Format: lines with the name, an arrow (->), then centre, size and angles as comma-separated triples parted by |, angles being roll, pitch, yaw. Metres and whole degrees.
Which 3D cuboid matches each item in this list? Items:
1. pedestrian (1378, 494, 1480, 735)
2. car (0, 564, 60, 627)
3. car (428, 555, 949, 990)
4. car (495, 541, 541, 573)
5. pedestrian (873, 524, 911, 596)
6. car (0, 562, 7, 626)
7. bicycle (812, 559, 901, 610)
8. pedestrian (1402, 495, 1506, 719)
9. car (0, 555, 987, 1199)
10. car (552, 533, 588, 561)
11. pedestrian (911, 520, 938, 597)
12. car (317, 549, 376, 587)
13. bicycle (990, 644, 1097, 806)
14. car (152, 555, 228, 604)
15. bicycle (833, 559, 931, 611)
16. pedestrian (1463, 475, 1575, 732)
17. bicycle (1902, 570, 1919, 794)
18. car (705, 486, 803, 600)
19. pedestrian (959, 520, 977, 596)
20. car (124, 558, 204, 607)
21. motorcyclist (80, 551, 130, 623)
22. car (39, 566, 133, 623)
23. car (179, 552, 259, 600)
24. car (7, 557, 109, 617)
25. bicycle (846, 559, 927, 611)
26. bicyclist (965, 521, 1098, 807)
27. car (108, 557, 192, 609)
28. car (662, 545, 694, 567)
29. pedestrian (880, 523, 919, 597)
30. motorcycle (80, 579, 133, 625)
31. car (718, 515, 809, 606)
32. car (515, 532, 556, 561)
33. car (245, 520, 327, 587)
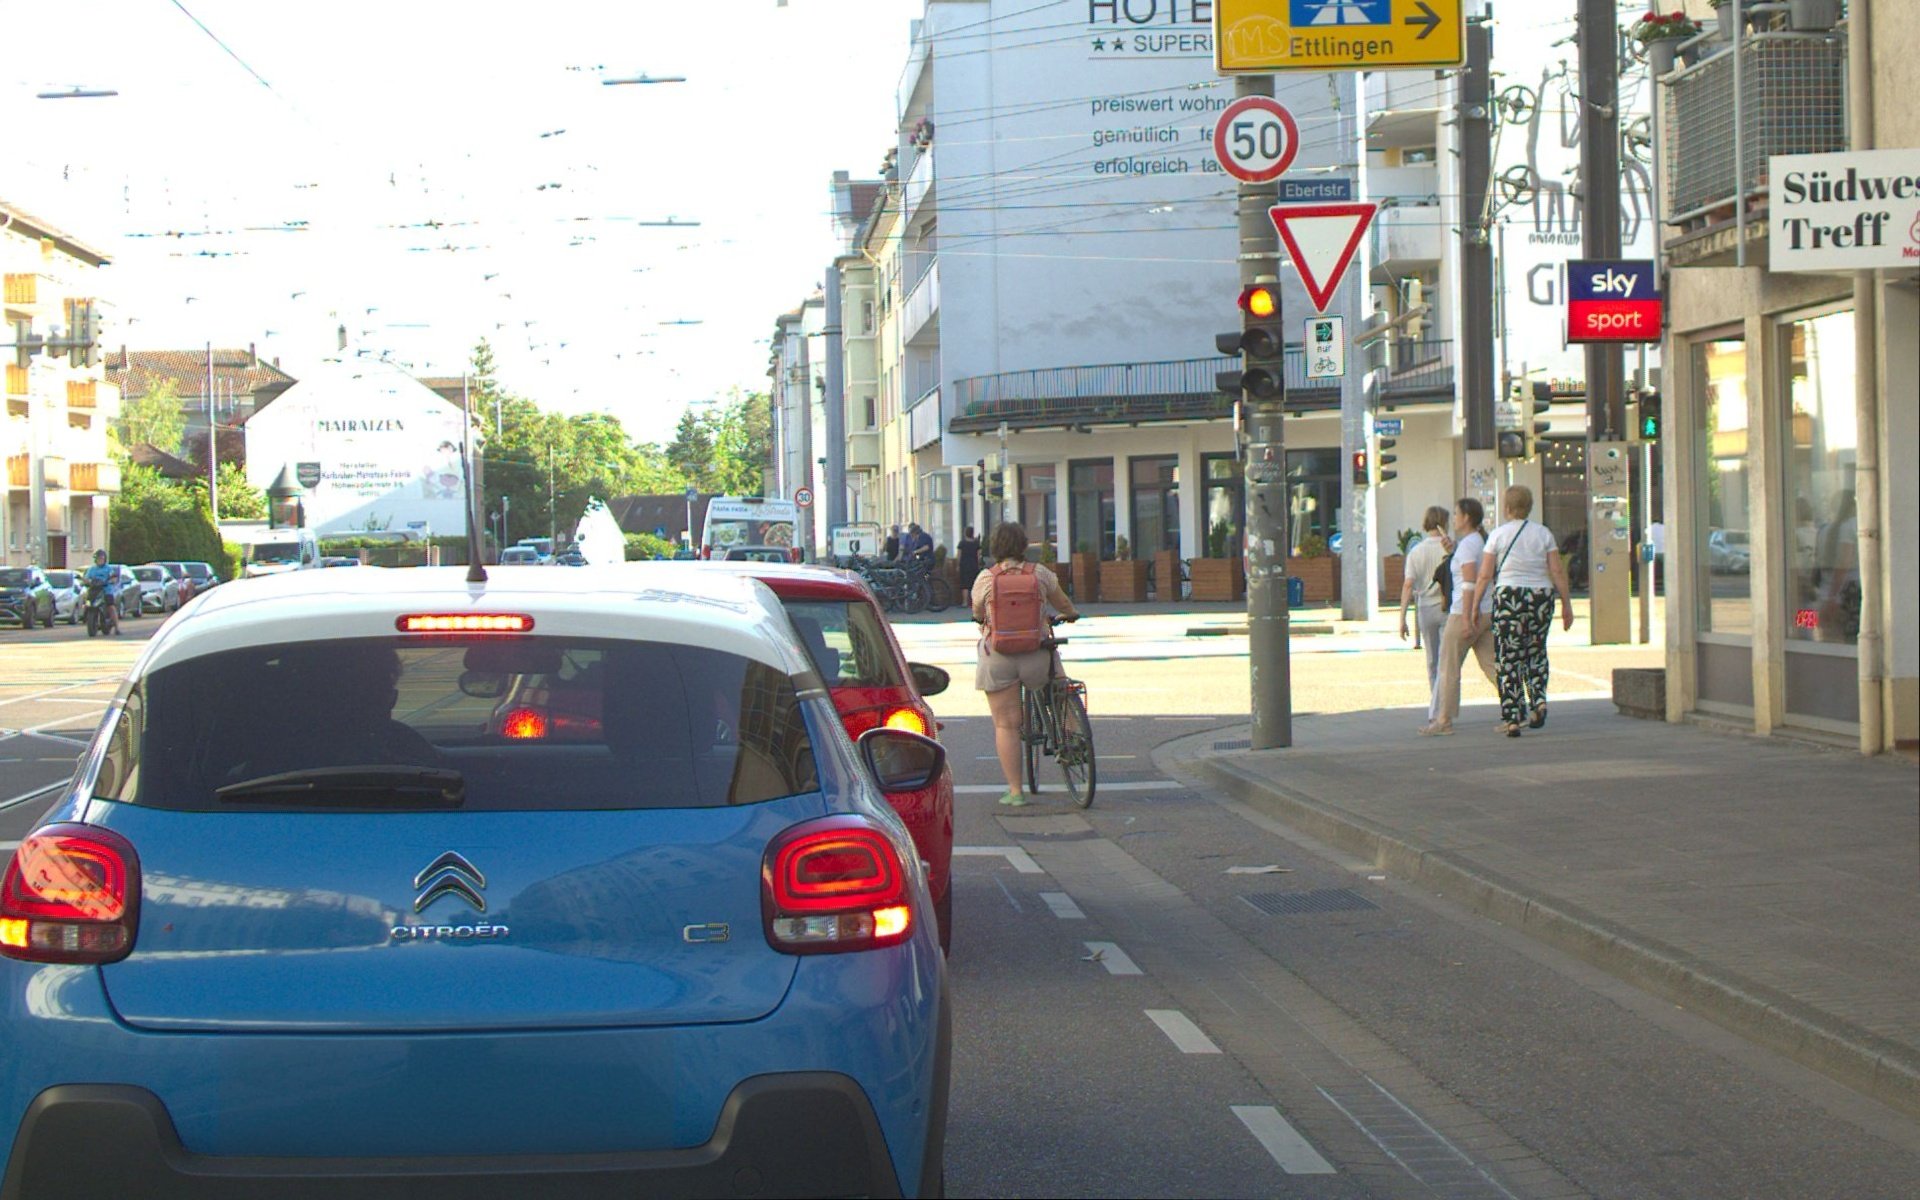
pedestrian -> 3.351, 0.096, 24.596 | 0.541, 1.666, 0.624 | -3, 3, -2
car -> -23.866, -0.121, 85.954 | 1.910, 1.492, 4.001 | -1, 1, -5
car -> -0.939, 0.559, 13.634 | 1.738, 1.415, 4.000 | -1, 1, -1
car -> -21.751, -2.106, 169.391 | 2.021, 1.520, 4.001 | -1, 1, -4
pedestrian -> -1.473, -0.864, 74.328 | 0.646, 1.550, 0.493 | -2, 1, -22
car -> -23.340, -0.095, 79.171 | 1.910, 1.492, 4.001 | -1, 1, -5
bicycle -> -2.055, -0.309, 68.401 | 1.720, 0.953, 0.702 | -1, 1, 1
pedestrian -> 3.421, 0.038, 23.845 | 0.541, 1.502, 0.611 | -3, 3, -2
car -> -1.053, 0.643, 7.411 | 1.743, 1.457, 4.001 | 0, 1, -7
car -> -24.461, -3.316, 215.482 | 1.993, 1.678, 4.001 | -2, 1, -10
pedestrian -> -0.724, -0.848, 69.817 | 0.491, 1.550, 0.384 | -1, 1, -3
car -> -25.759, -1.343, 144.481 | 2.021, 1.520, 4.001 | -1, 1, -4
bicycle -> 0.486, 0.728, 20.558 | 0.498, 0.861, 1.749 | -1, 1, -3
car -> -25.999, -0.706, 116.157 | 1.870, 1.568, 4.001 | -1, 1, -4
bicycle -> -1.515, -0.297, 67.042 | 1.874, 0.953, 0.702 | -1, 1, 1
pedestrian -> 3.734, 0.015, 23.001 | 0.541, 1.666, 0.650 | -3, 1, -2
bicycle -> 4.904, 0.402, 15.784 | 0.530, 1.068, 1.811 | -1, 1, -4
car -> -4.356, -1.189, 72.421 | 1.993, 2.317, 4.001 | 0, 1, -4
pedestrian -> 0.171, -0.854, 70.132 | 0.284, 1.550, 0.305 | -1, 1, -9
car -> -25.691, -0.591, 111.065 | 1.910, 1.492, 4.001 | -1, 1, -5
motorcyclist -> -16.682, -0.252, 67.114 | 0.719, 1.373, 0.911 | -1, 1, 0
car -> -24.790, -0.172, 97.666 | 1.910, 1.492, 4.001 | -1, 1, -5
car -> -26.191, -0.869, 121.582 | 2.030, 1.614, 4.511 | -1, 1, -3
car -> -24.132, -0.368, 92.090 | 1.910, 1.492, 4.001 | -1, 1, -5
bicycle -> -1.411, -0.283, 65.983 | 1.504, 0.953, 0.702 | -1, 1, 1
bicyclist -> 0.413, 0.361, 20.278 | 0.726, 1.640, 0.790 | -1, 1, -1
car -> -24.967, -0.532, 106.066 | 1.910, 1.492, 4.001 | -1, 1, -5
car -> -16.953, -2.654, 206.495 | 1.754, 1.255, 3.833 | -1, 1, -7
pedestrian -> -1.270, -0.843, 72.525 | 0.646, 1.550, 0.493 | -2, 1, -22
motorcycle -> -16.688, 0.032, 67.273 | 0.615, 0.861, 1.671 | -1, 1, 0
car -> -3.865, -0.784, 67.510 | 1.732, 1.744, 3.214 | 0, 1, -4
car -> -23.142, -2.930, 187.423 | 2.021, 1.520, 4.001 | -1, 1, -4
car -> -23.369, -1.637, 119.294 | 2.206, 2.243, 4.678 | -1, 1, -4
